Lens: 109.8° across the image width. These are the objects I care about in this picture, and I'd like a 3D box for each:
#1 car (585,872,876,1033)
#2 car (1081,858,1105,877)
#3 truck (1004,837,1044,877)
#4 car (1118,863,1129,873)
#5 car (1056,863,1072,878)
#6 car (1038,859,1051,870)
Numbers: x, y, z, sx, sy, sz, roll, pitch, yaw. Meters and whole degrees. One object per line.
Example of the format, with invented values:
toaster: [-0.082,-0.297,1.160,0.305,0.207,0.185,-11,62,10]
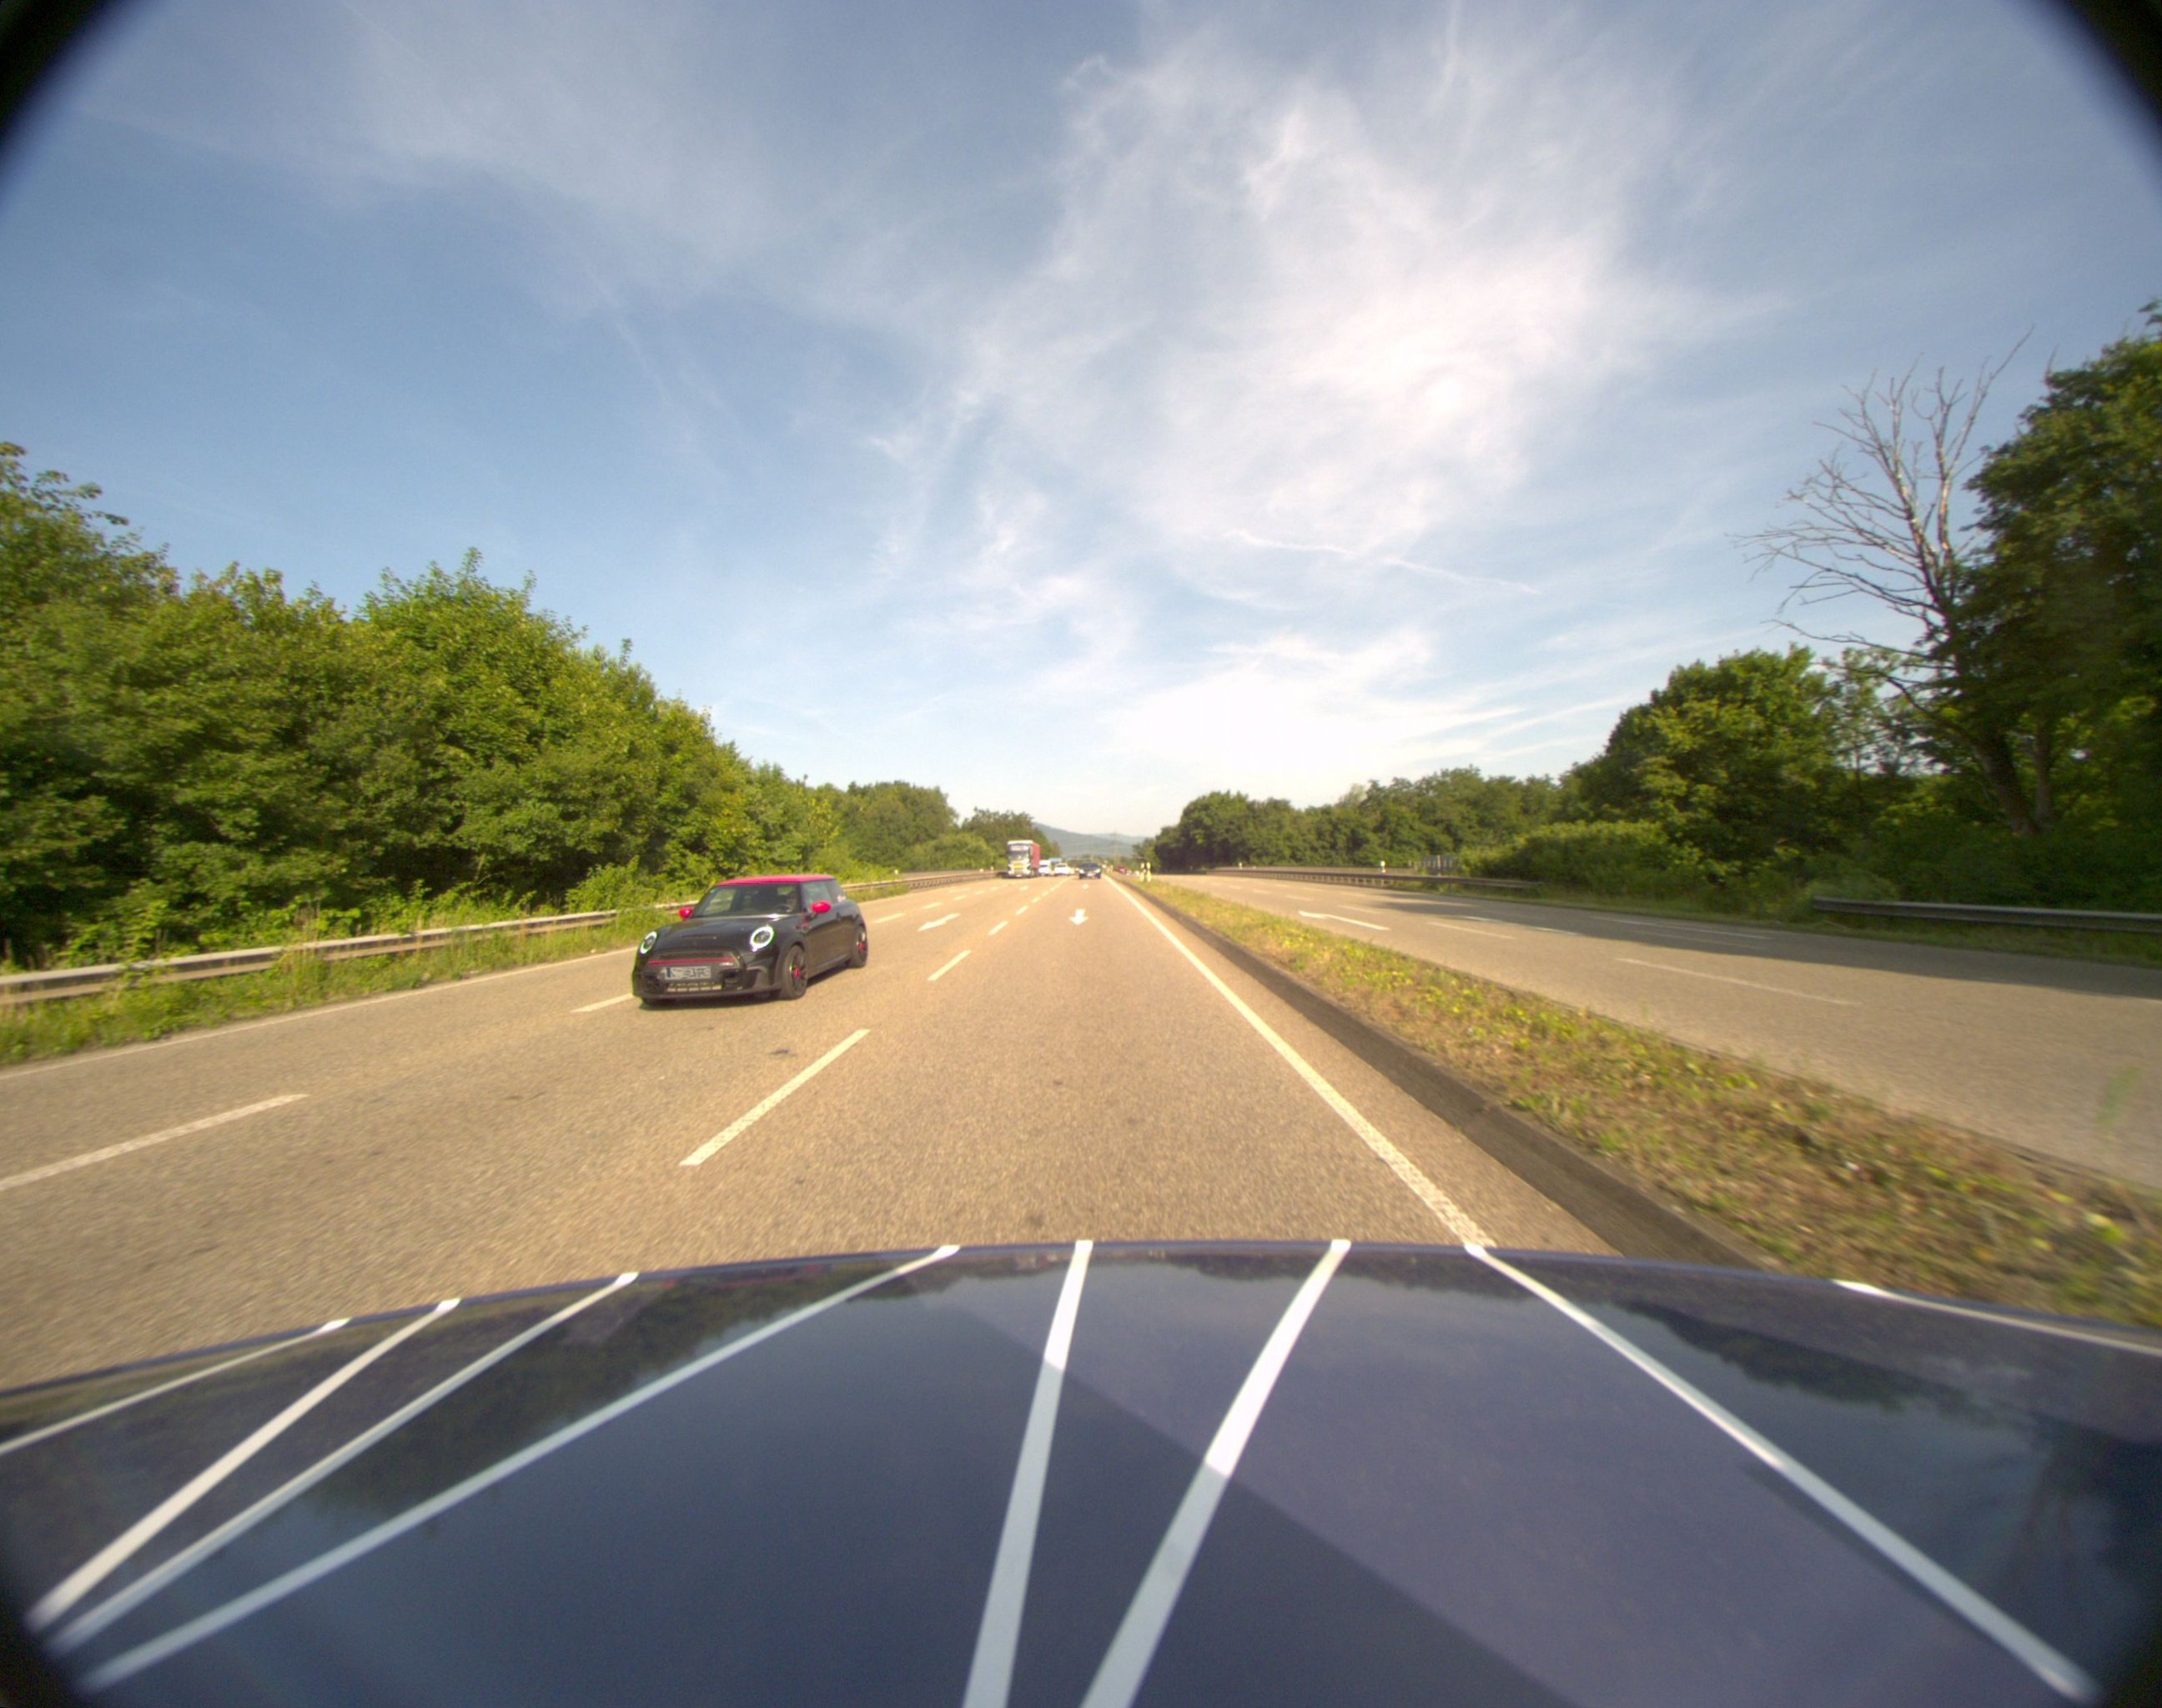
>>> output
car: [-4.117,1.062,9.726,1.824,1.459,3.872,-2,1,1]
car: [1.018,1.102,63.321,1.861,1.452,4.569,-2,1,1]
truck: [-6.266,0.235,86.357,3.196,3.996,14.562,-2,1,1]
car: [8.454,2.748,152.013,1.998,1.818,4.618,-2,1,0]
car: [-2.105,2.035,94.125,1.875,1.625,4.833,0,1,0]
car: [-5.788,1.677,121.678,1.875,1.625,4.833,0,1,0]
